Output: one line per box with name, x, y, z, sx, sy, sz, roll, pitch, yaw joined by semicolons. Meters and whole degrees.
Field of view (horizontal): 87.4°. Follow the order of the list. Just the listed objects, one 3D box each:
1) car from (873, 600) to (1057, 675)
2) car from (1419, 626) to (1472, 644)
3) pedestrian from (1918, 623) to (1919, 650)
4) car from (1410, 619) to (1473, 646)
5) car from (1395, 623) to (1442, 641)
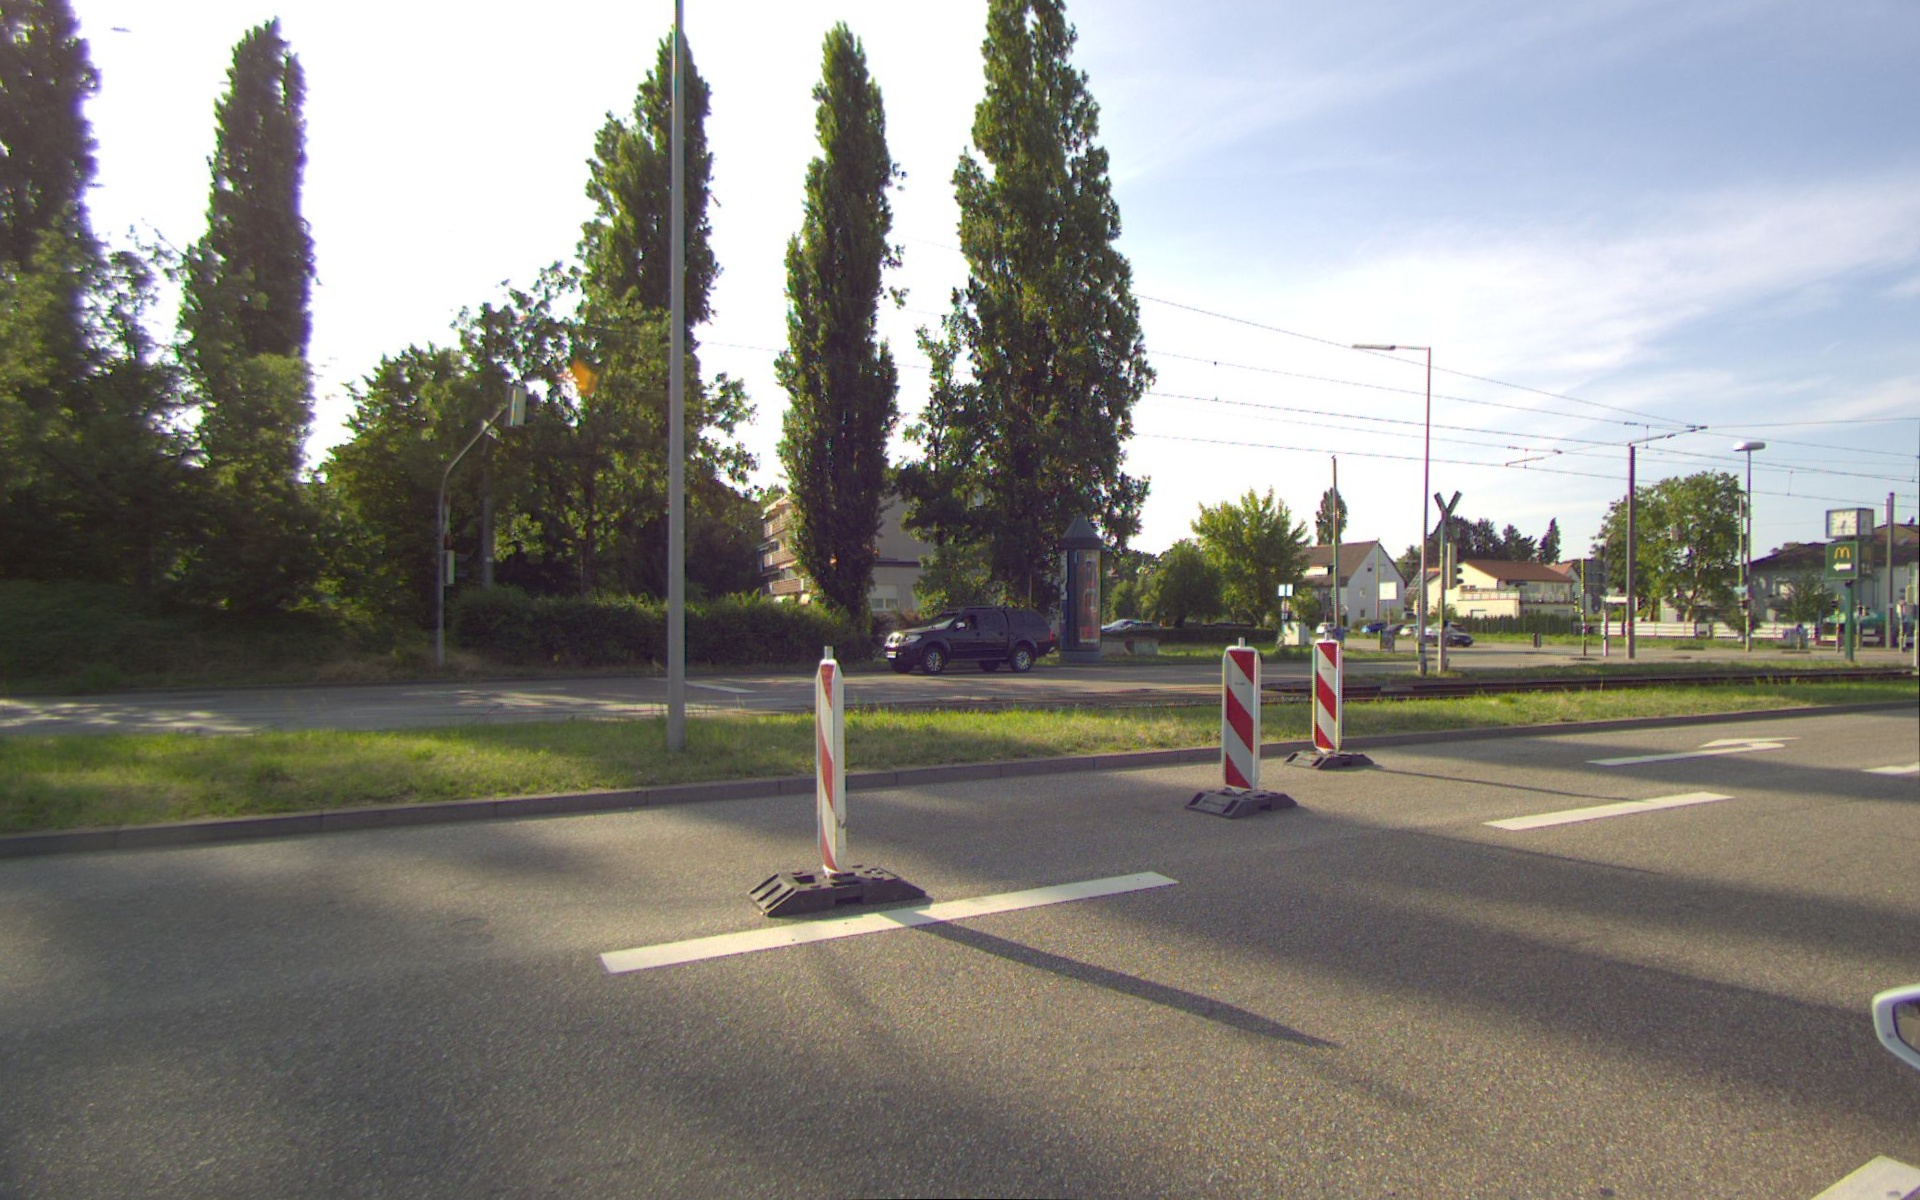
car;0.210;1.088;29.660;5.304;2.040;1.981;1;-1;-35
car;41.840;2.973;86.681;1.967;1.505;3.987;0;-1;-16
pedestrian;58.704;2.231;61.094;0.533;1.620;0.510;1;-1;-28
car;33.679;2.223;70.347;1.498;1.816;3.977;1;-1;-24
car;46.627;3.239;102.098;4.155;1.706;1.991;2;0;-20
